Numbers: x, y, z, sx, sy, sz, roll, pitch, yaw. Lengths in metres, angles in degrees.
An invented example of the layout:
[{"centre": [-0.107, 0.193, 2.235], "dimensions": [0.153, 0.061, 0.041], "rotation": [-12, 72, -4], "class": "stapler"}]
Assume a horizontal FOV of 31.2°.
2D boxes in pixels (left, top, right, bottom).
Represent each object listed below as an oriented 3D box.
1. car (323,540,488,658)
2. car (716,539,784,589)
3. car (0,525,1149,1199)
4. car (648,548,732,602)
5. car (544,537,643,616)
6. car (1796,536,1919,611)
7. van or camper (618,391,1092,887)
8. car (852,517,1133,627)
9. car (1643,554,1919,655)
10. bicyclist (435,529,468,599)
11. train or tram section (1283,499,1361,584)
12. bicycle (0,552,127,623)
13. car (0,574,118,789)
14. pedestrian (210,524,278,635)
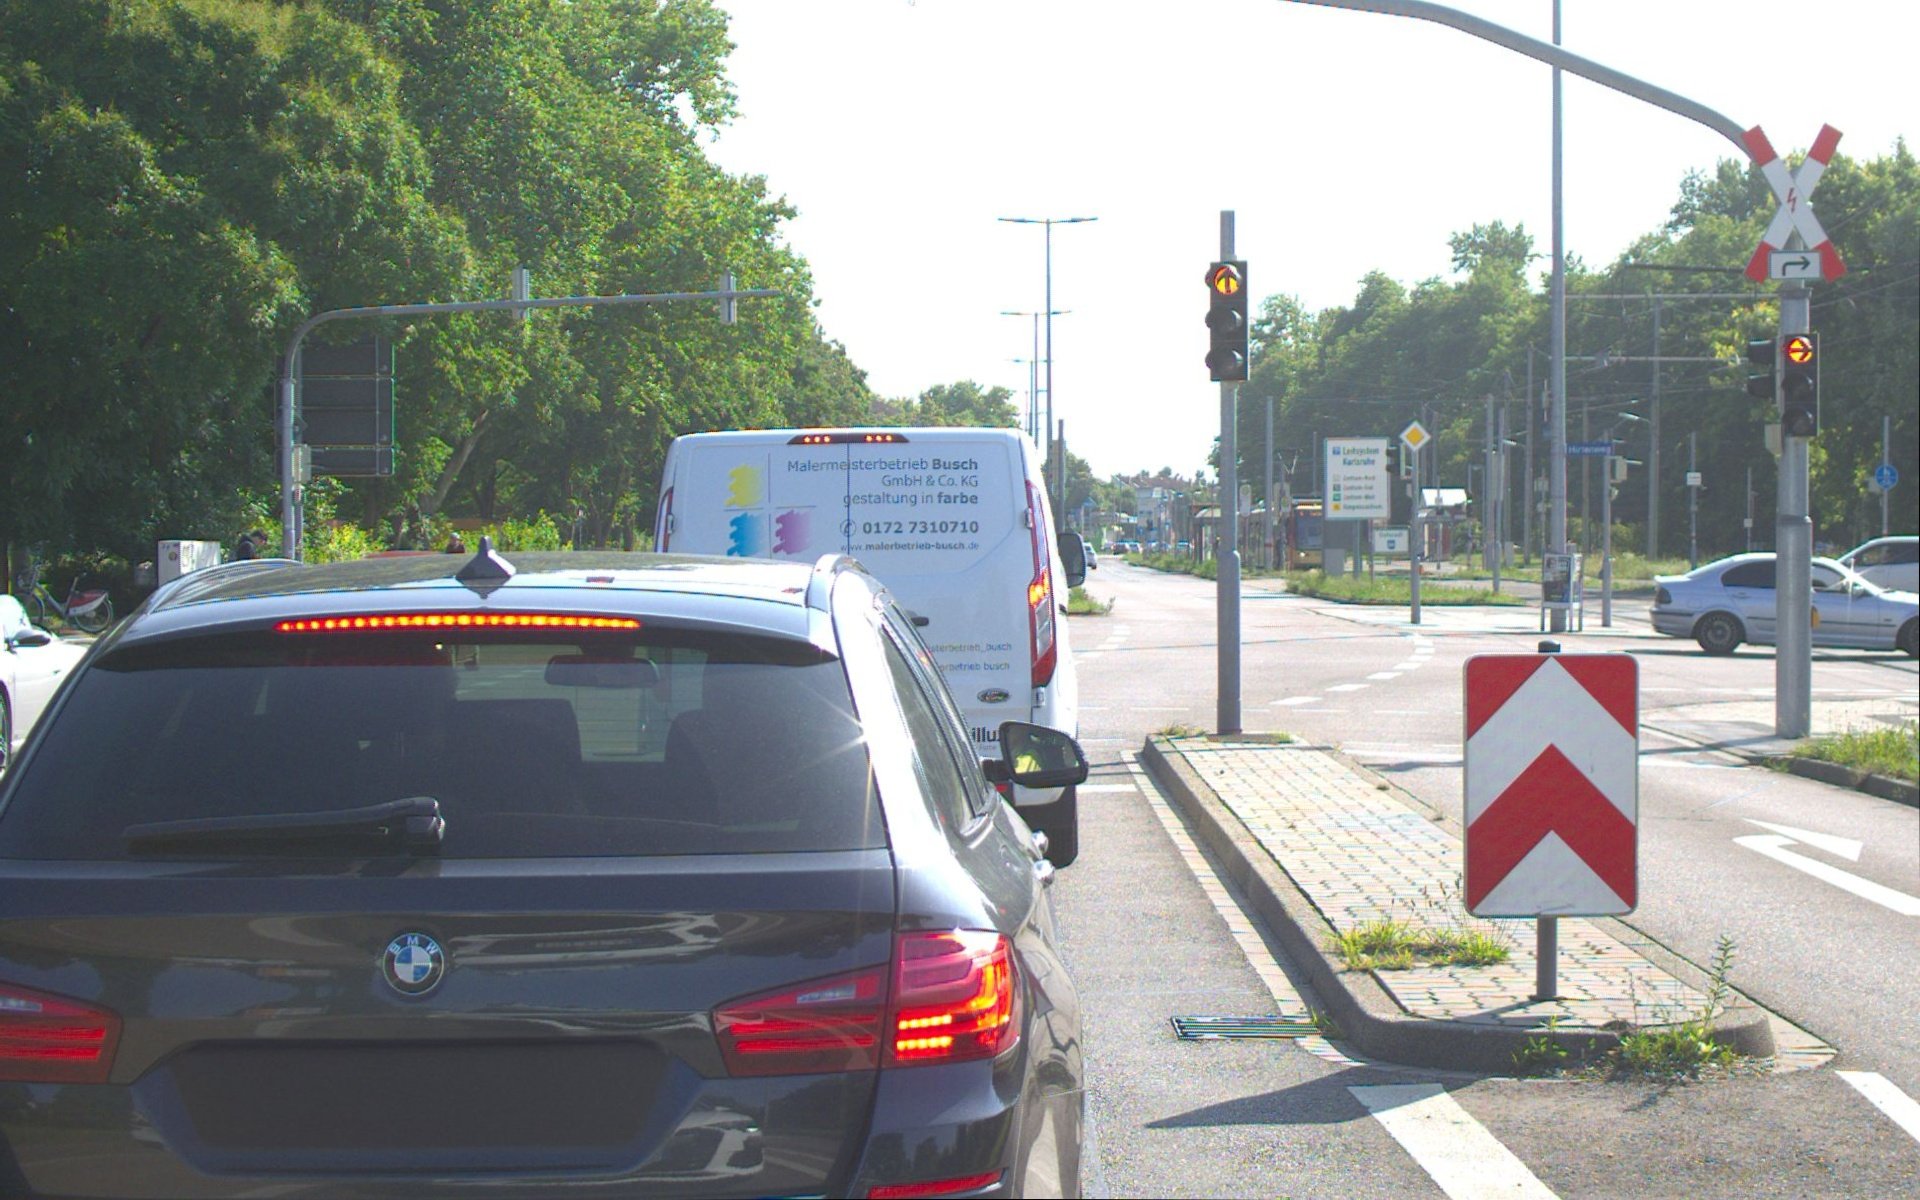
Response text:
[{"centre": [-7.432, -0.046, 46.359], "dimensions": [1.694, 1.493, 3.676], "rotation": [-1, 1, -1], "class": "car"}, {"centre": [-6.694, -1.123, 109.927], "dimensions": [1.702, 1.460, 4.369], "rotation": [-1, -1, 2], "class": "car"}, {"centre": [-0.725, 0.615, 6.451], "dimensions": [1.903, 1.500, 4.065], "rotation": [0, 1, 0], "class": "car"}, {"centre": [-7.271, -0.692, 92.943], "dimensions": [1.779, 1.410, 4.244], "rotation": [0, 1, 2], "class": "car"}, {"centre": [-7.656, -0.512, 72.101], "dimensions": [1.633, 1.555, 3.676], "rotation": [-2, 1, 0], "class": "car"}, {"centre": [18.896, -0.552, 68.960], "dimensions": [3.891, 1.481, 1.797], "rotation": [0, 1, 23], "class": "car"}, {"centre": [-0.403, 0.120, 16.768], "dimensions": [1.993, 2.089, 4.598], "rotation": [0, 1, 1], "class": "van or camper"}, {"centre": [0.493, -0.442, 55.872], "dimensions": [4.618, 1.716, 1.645], "rotation": [0, 1, 42], "class": "car"}, {"centre": [11.783, 0.046, 47.746], "dimensions": [4.397, 1.349, 1.999], "rotation": [0, 1, 14], "class": "car"}, {"centre": [-11.461, -0.816, 77.423], "dimensions": [0.607, 1.555, 0.603], "rotation": [0, 1, -20], "class": "bicyclist"}, {"centre": [16.119, -2.556, 153.724], "dimensions": [2.796, 3.606, 12.954], "rotation": [1, 1, 3], "class": "train or tram section"}, {"centre": [-14.272, -0.199, 54.658], "dimensions": [1.909, 1.115, 0.632], "rotation": [0, 1, 0], "class": "bicycle"}, {"centre": [-6.924, 0.511, 22.562], "dimensions": [1.779, 1.305, 4.287], "rotation": [0, 1, -1], "class": "car"}, {"centre": [-11.360, -0.336, 54.564], "dimensions": [0.816, 1.746, 0.931], "rotation": [0, 1, 5], "class": "pedestrian"}]
